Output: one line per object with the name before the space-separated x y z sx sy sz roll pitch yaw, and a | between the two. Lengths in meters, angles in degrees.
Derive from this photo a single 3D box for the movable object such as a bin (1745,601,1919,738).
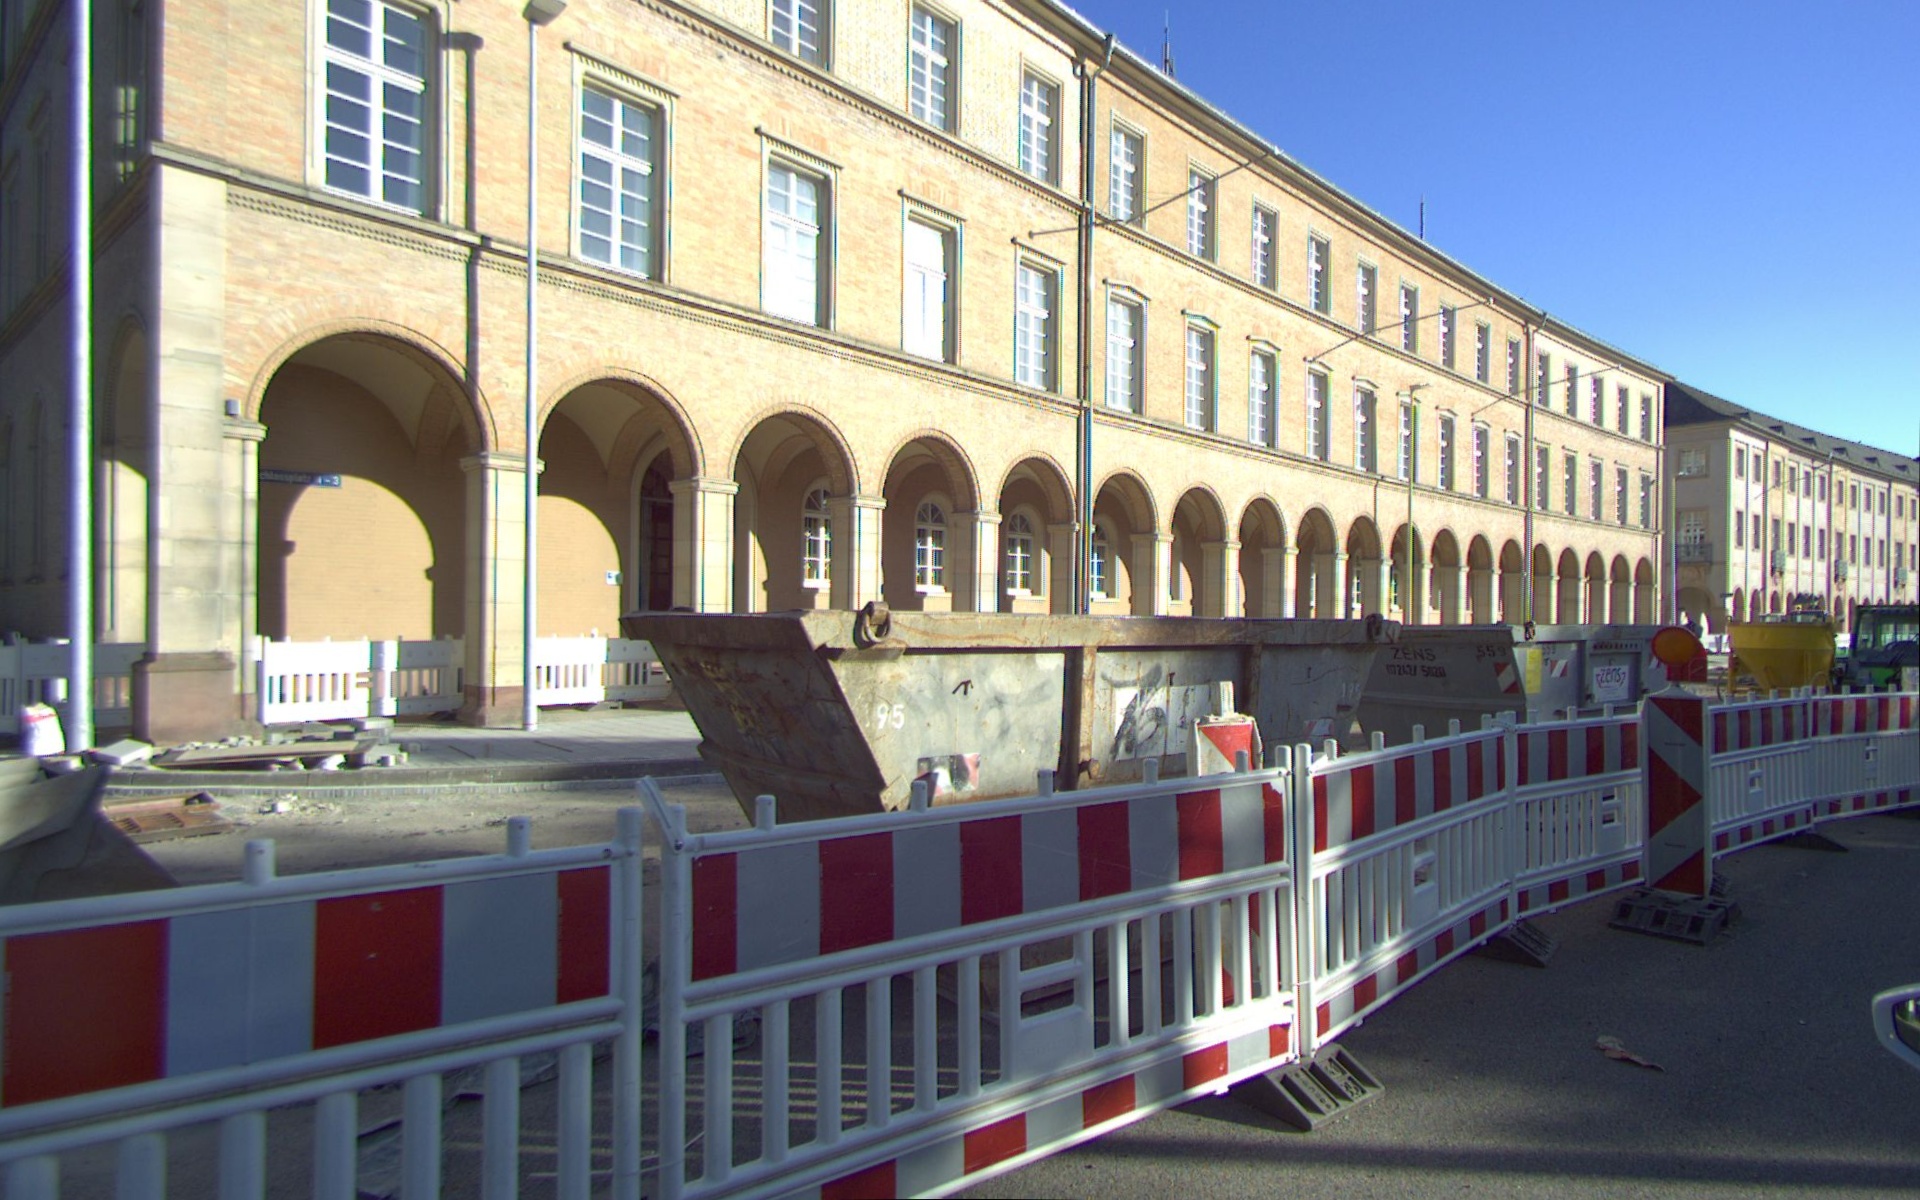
movable object such as a bin | 14.846 1.004 16.533 4.294 1.975 2.035 0 0 -37

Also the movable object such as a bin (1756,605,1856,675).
movable object such as a bin | 32.249 1.456 38.253 4.576 2.508 2.058 0 0 -39

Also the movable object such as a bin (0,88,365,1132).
movable object such as a bin | -5.806 0.014 3.467 5.820 3.071 2.565 1 -1 -7
